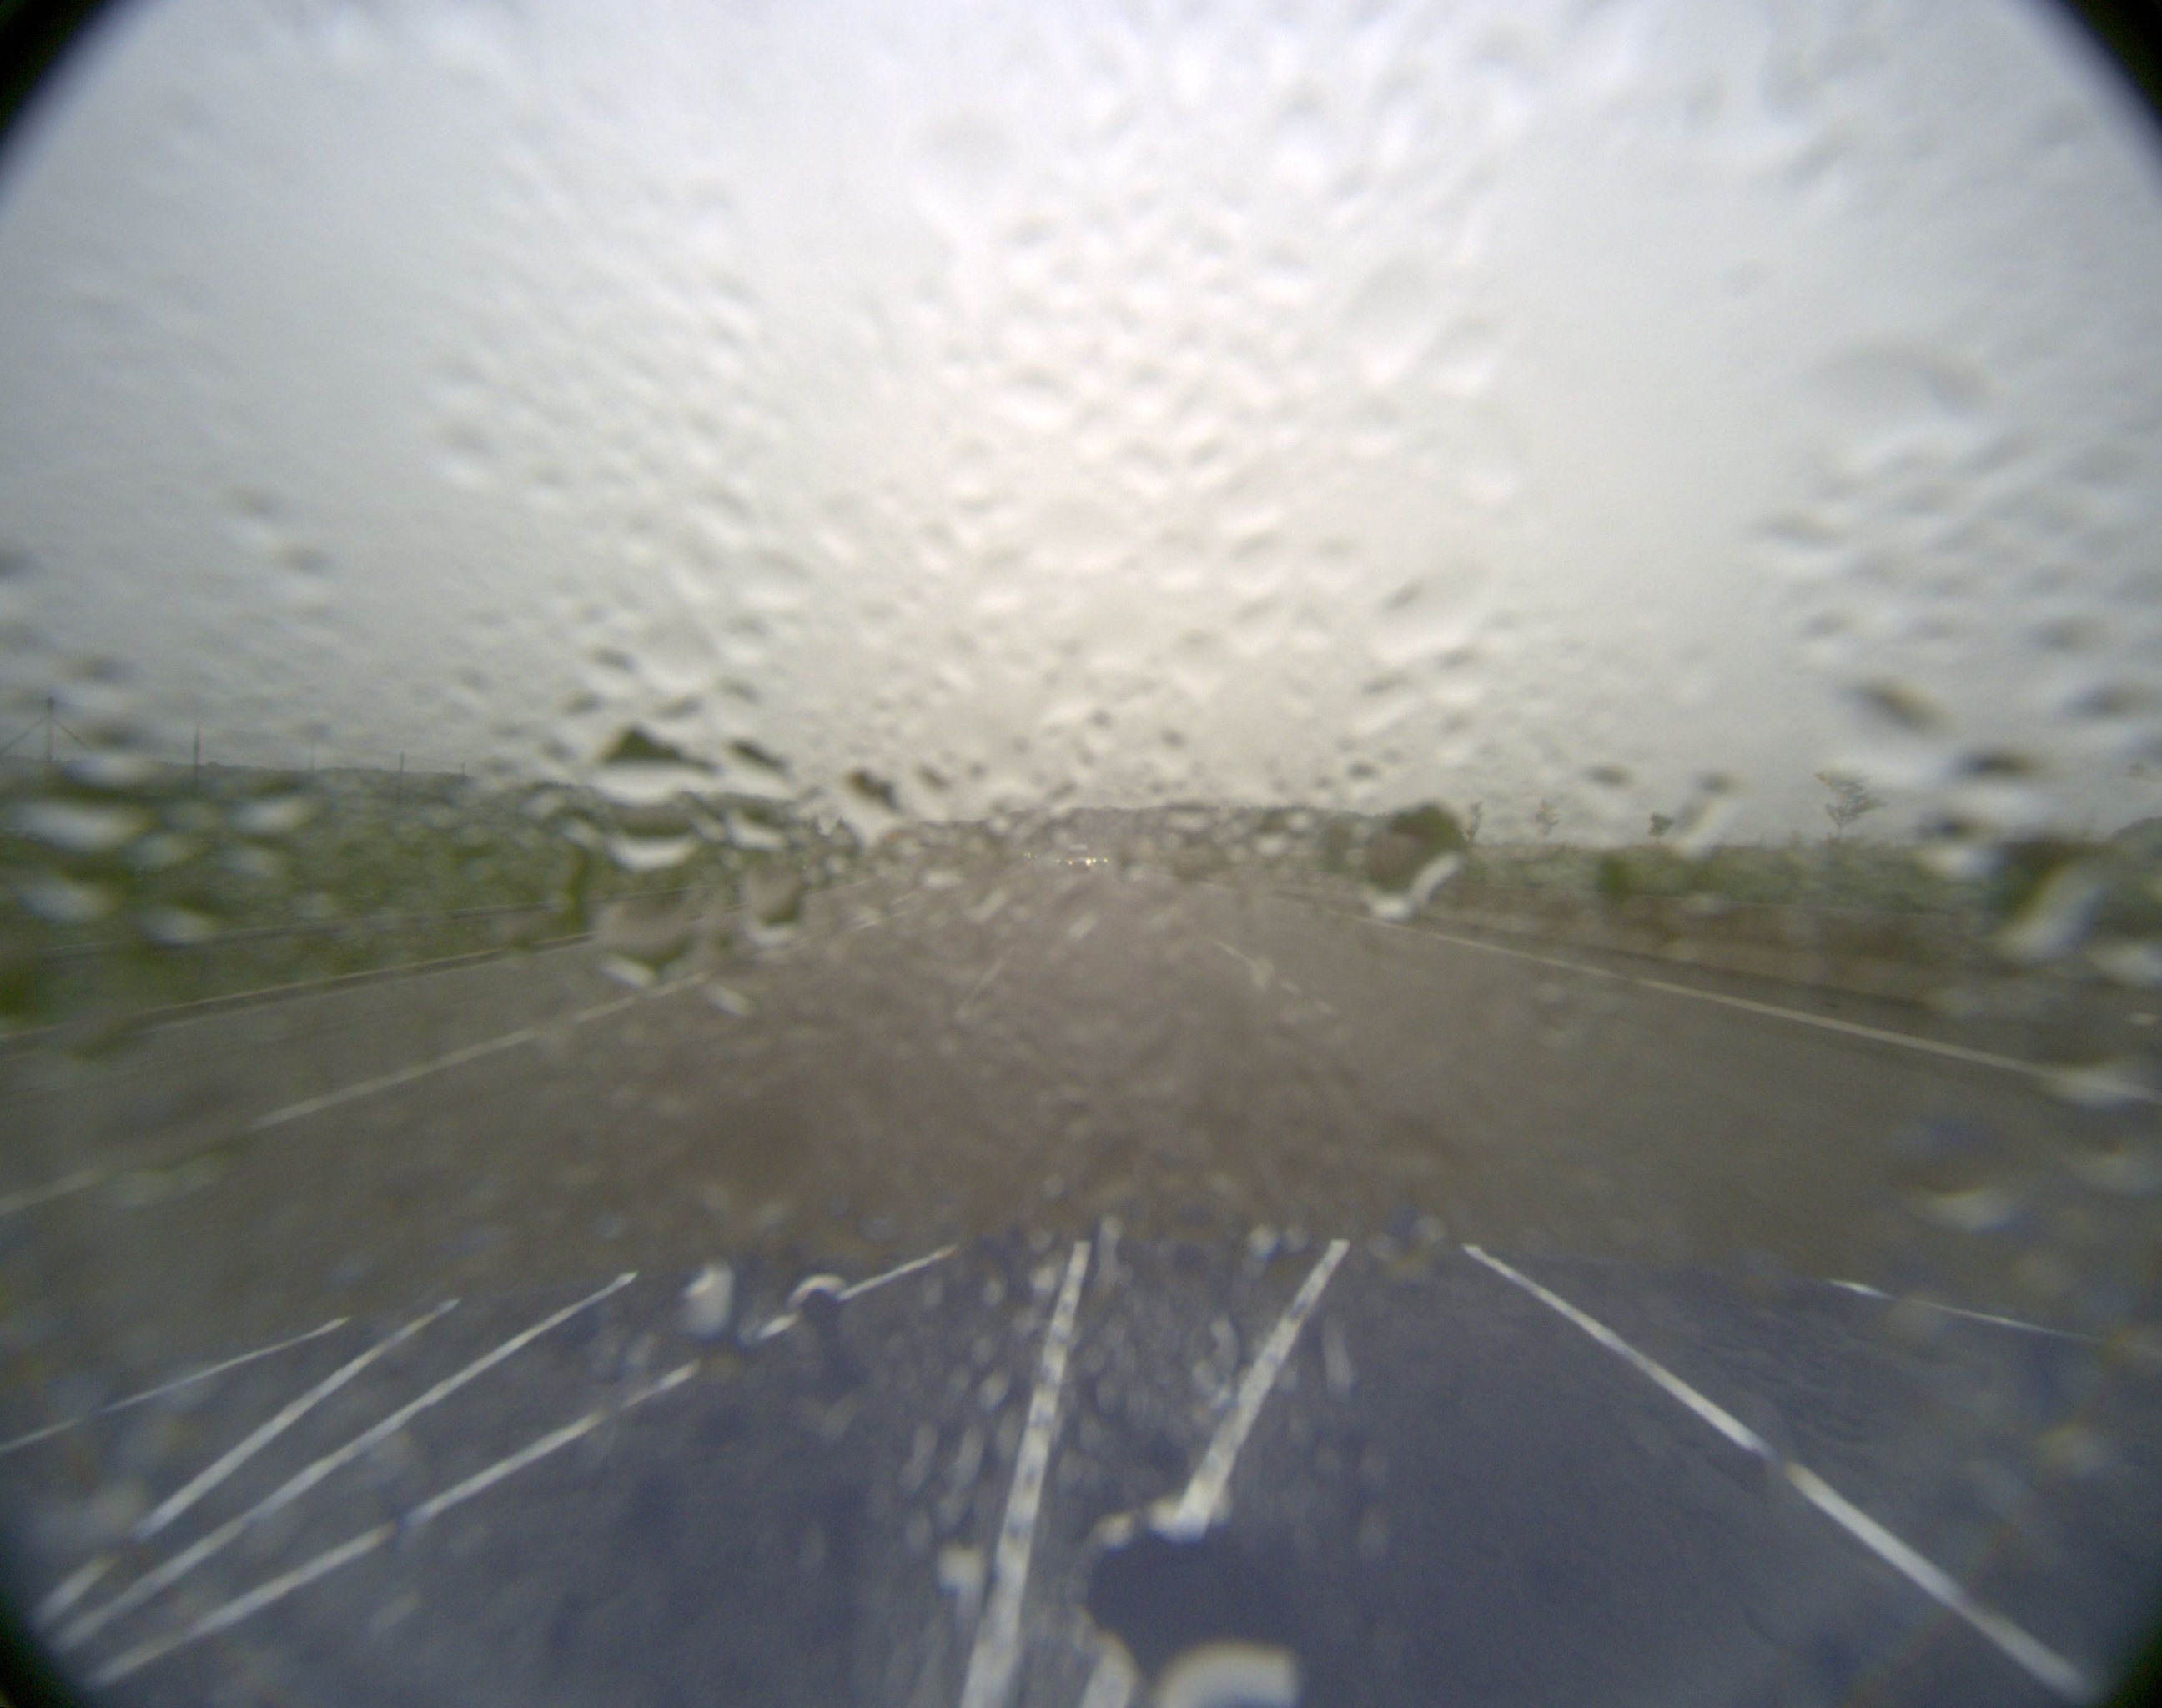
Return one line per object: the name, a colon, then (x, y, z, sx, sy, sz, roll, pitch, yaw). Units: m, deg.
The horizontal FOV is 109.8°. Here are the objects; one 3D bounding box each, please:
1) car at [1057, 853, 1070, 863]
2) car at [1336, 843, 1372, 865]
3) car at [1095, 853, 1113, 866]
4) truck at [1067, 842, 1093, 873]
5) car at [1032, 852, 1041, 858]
car: (-2.798, 0.607, 122.915, 1.999, 1.521, 3.999, -1, 0, -2)
car: (19.094, -0.011, 53.227, 1.362, 1.374, 3.204, -2, 1, 0)
car: (2.995, 0.647, 98.831, 1.999, 1.608, 3.998, -1, 0, -3)
truck: (-0.162, 0.235, 72.391, 1.999, 2.699, 7.996, -2, 1, -2)
car: (-12.082, 0.343, 206.031, 1.998, 1.543, 4.000, -2, 0, 2)
